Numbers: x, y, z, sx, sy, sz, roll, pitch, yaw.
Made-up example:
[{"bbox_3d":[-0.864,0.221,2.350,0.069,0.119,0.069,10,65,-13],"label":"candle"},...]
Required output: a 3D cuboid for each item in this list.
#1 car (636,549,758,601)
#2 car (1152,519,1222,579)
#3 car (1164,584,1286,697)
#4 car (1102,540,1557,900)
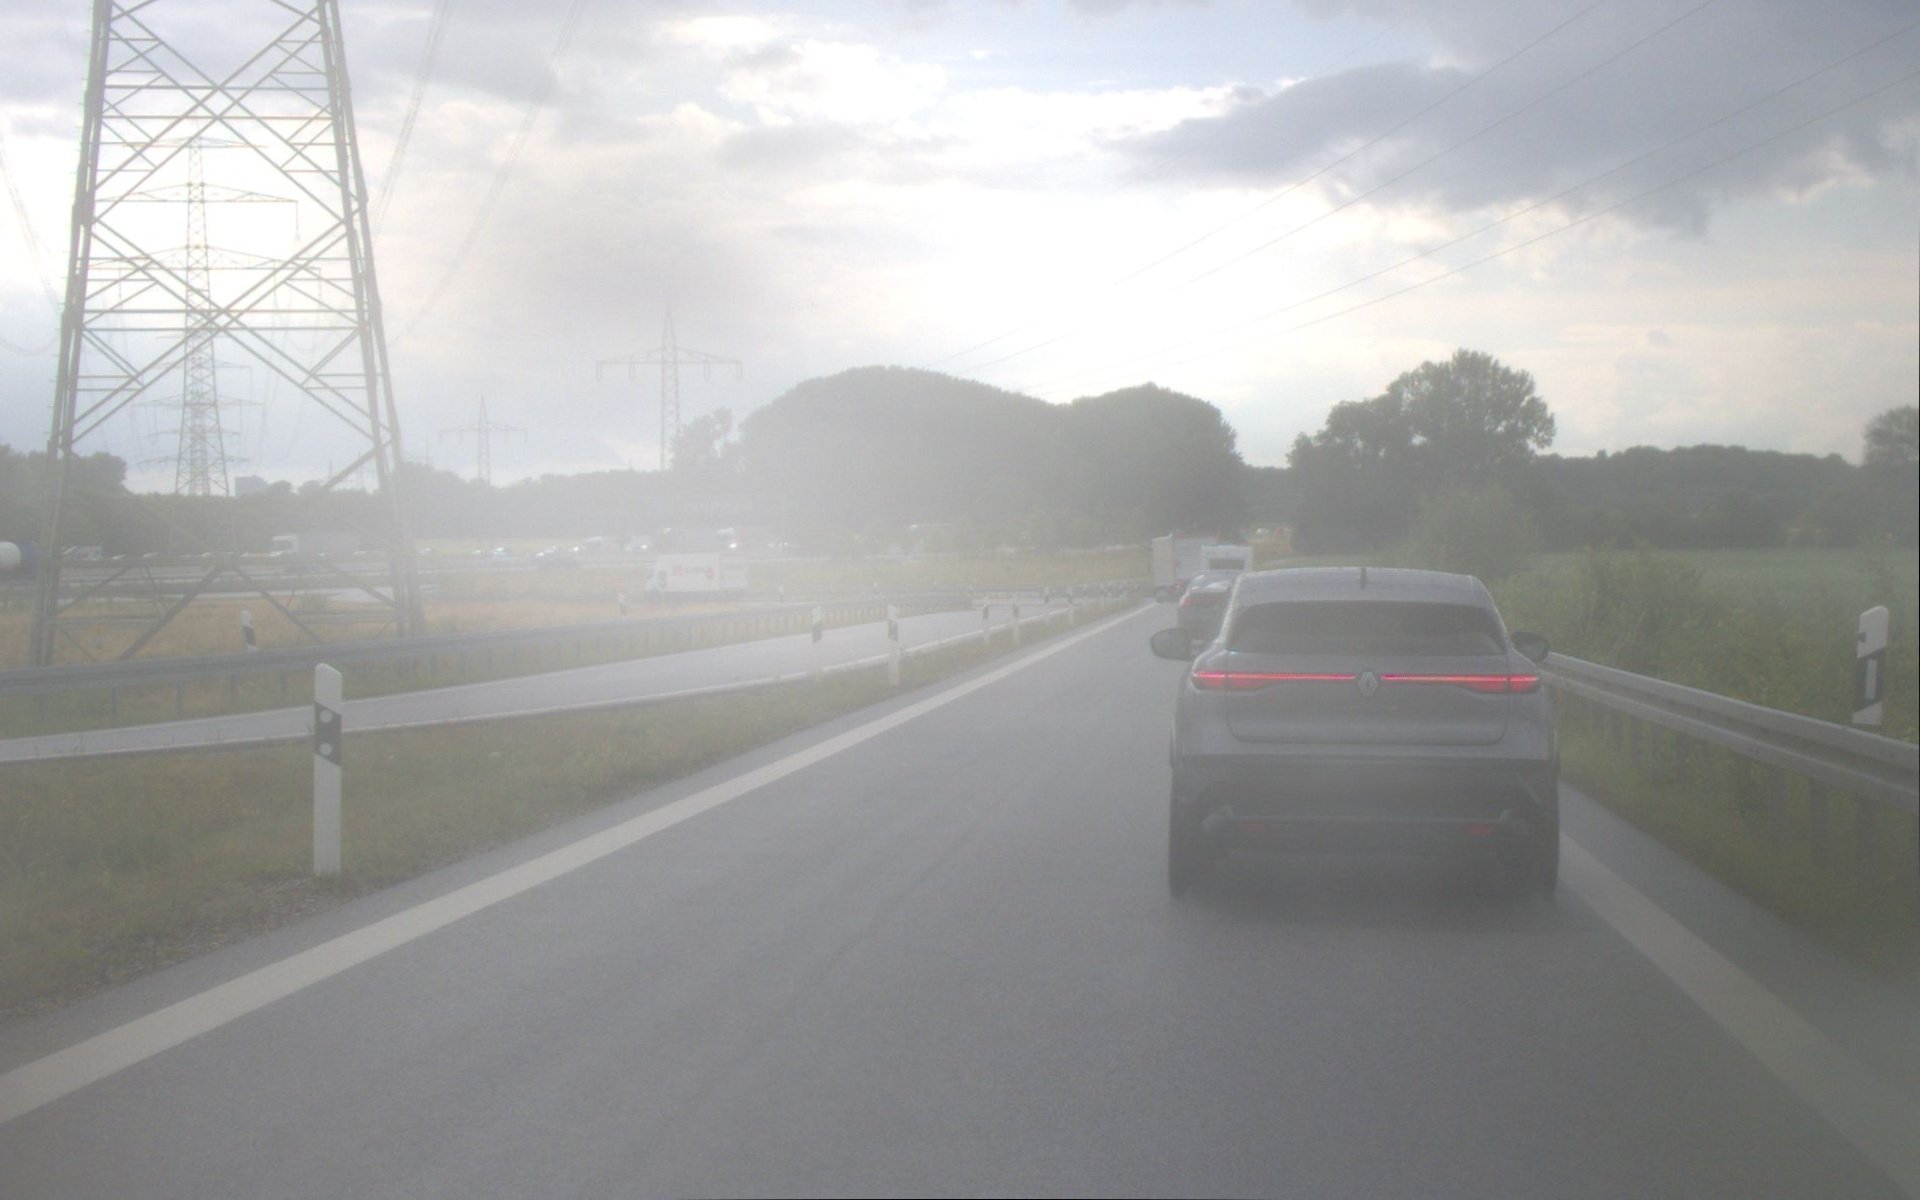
[{"bbox_3d":[-18.473,-1.749,240.787,9.038,3.598,3.385,0,1,44],"label":"car"},{"bbox_3d":[12.005,-2.734,182.184,3.135,2.941,7.210,-1,3,-1],"label":"car"},{"bbox_3d":[5.124,0.747,67.115,2.121,2.011,5.534,-1,1,2],"label":"car"},{"bbox_3d":[1.889,0.492,17.354,1.994,1.561,4.148,1,1,7],"label":"car"}]
